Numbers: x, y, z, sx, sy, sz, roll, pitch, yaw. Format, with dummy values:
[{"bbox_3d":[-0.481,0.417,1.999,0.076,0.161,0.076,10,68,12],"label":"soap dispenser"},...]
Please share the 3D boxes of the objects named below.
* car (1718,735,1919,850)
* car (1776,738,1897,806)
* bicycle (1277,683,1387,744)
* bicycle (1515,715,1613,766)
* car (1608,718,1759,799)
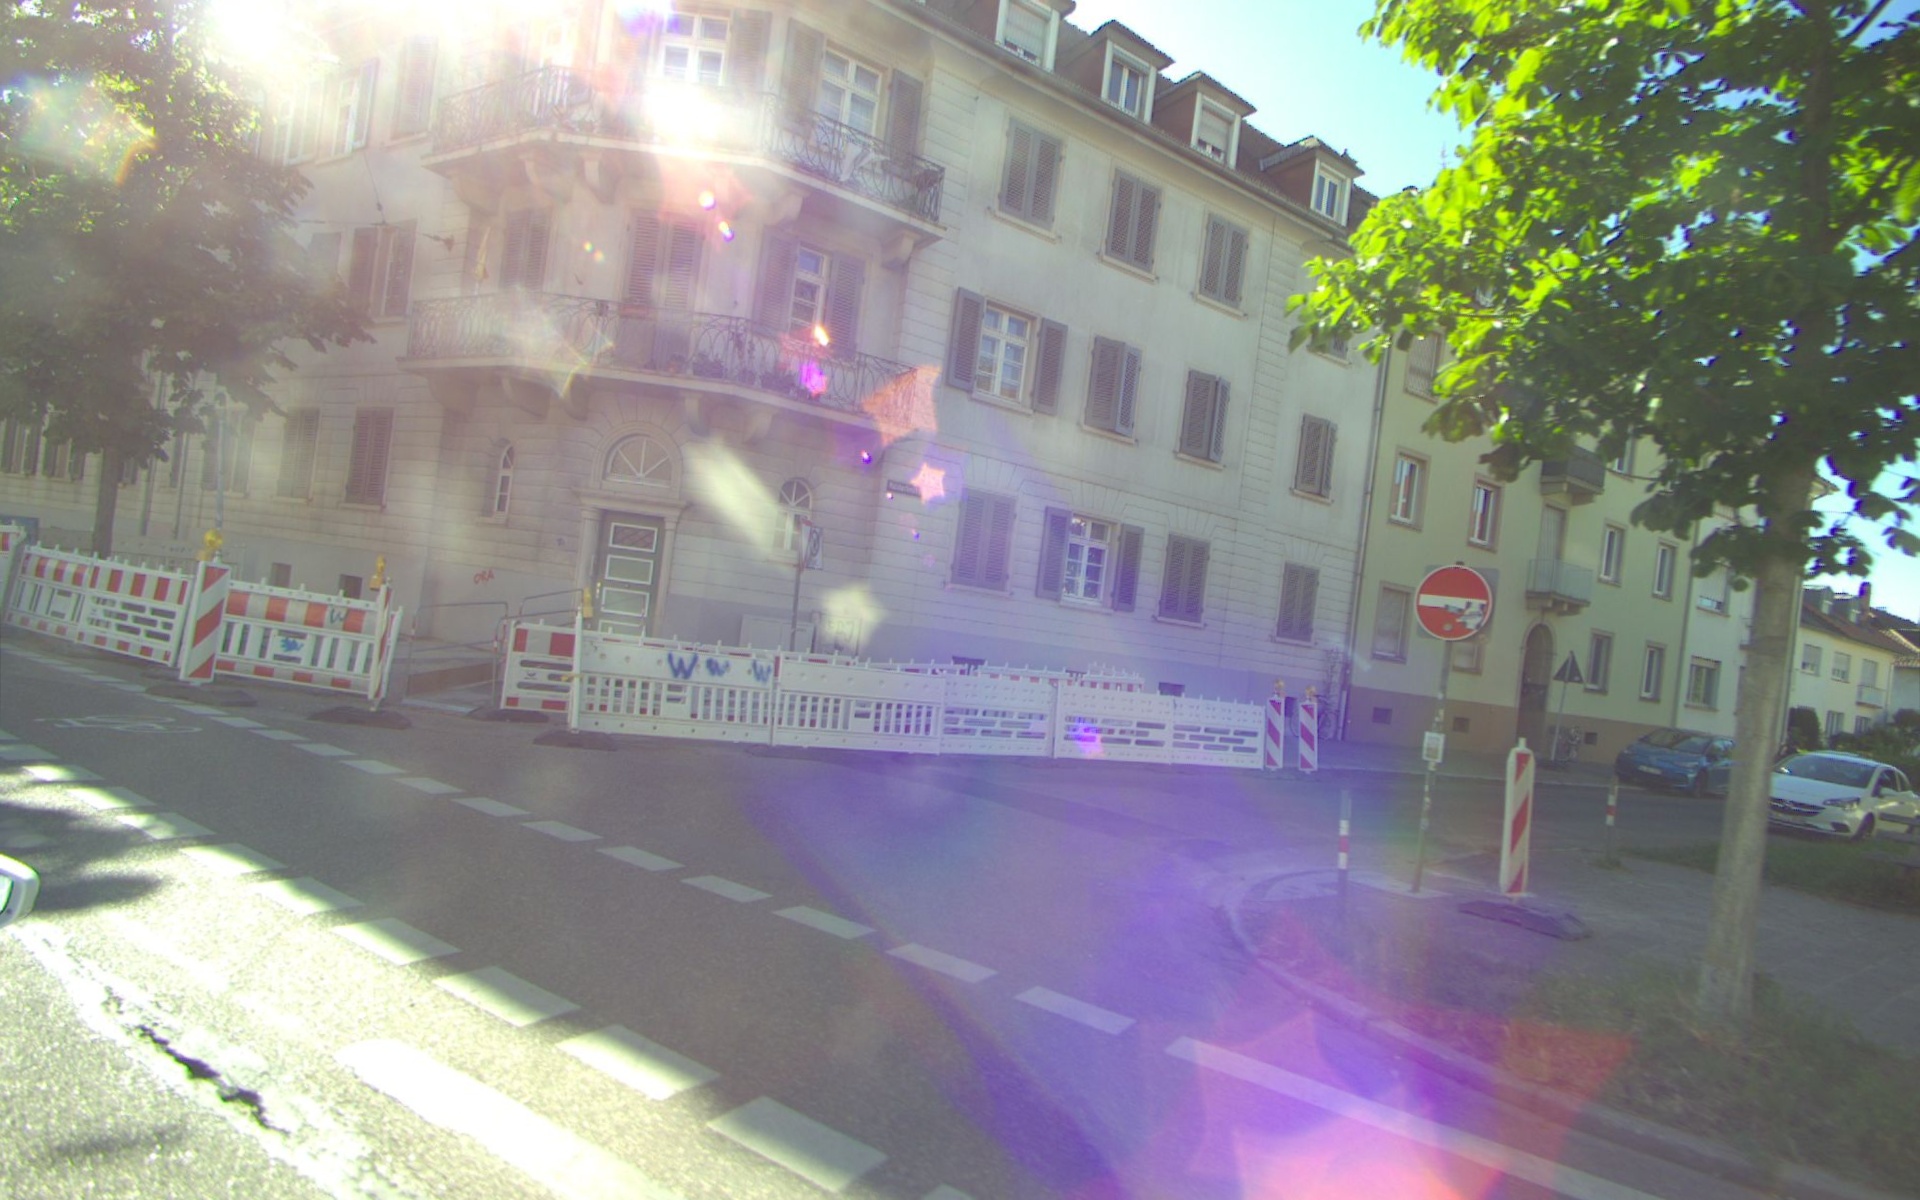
[{"bbox_3d":[15.409,3.417,17.838,3.934,1.505,1.770,8,1,-33],"label":"car"},{"bbox_3d":[28.086,5.512,32.210,3.833,1.673,1.770,8,1,-33],"label":"car"},{"bbox_3d":[8.717,2.662,23.471,3.082,1.127,0.521,9,2,-32],"label":"bicycle"},{"bbox_3d":[17.341,4.041,28.809,3.964,1.170,0.759,9,-1,-35],"label":"bicycle"},{"bbox_3d":[18.450,4.056,25.628,3.836,1.565,1.826,8,1,-35],"label":"car"}]
